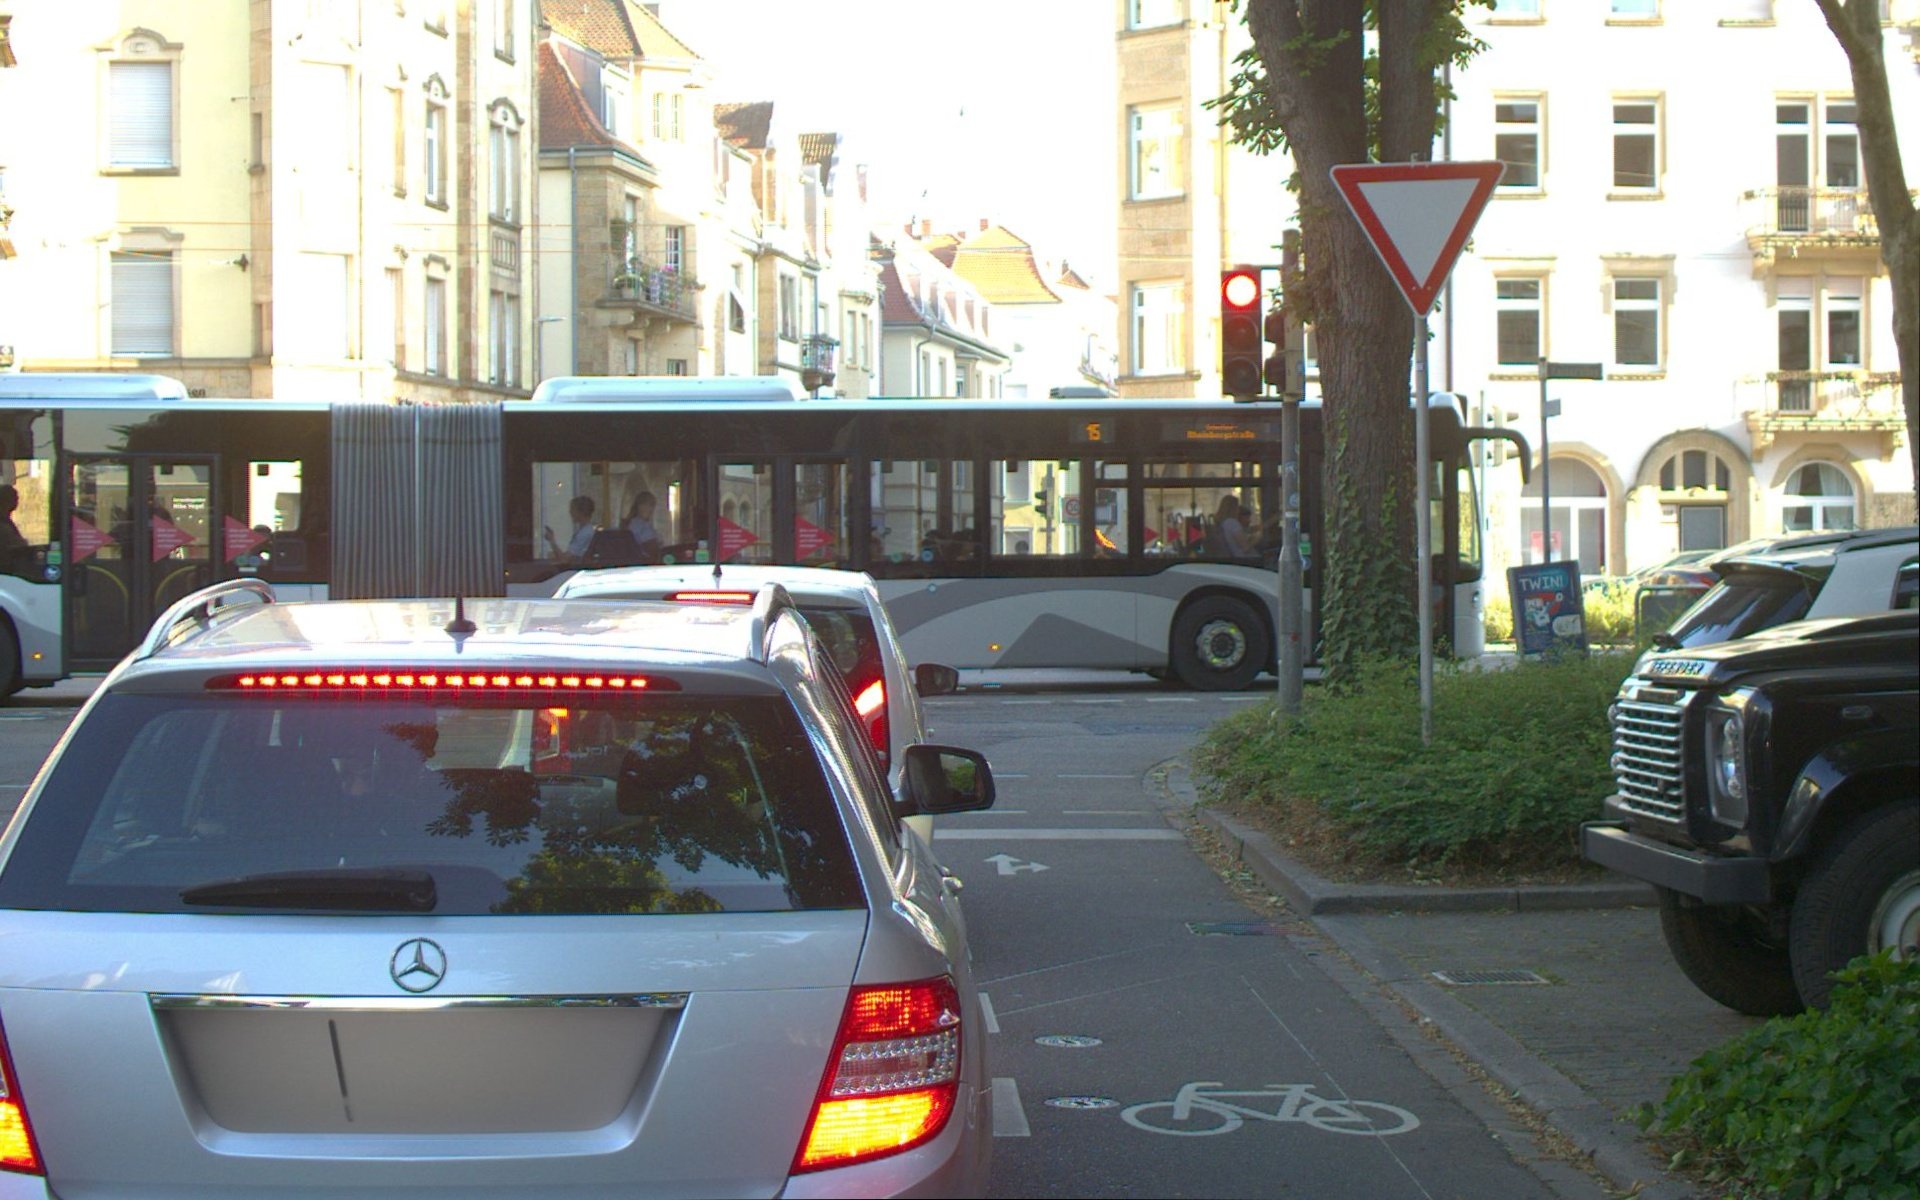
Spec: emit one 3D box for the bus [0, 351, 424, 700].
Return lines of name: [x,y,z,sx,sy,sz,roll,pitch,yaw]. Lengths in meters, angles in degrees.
bus: [-9.305,-0.697,32.914,8.173,3.190,2.912,-1,1,-8]

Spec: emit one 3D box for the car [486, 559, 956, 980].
car: [-0.911,0.563,14.074,1.619,1.442,4.345,0,1,-2]

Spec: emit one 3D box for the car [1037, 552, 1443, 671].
car: [3.067,0.107,38.108,4.195,1.232,1.719,-1,1,-8]

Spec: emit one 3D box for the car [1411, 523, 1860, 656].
car: [7.633,-0.136,39.043,4.688,1.424,1.719,-1,1,-8]

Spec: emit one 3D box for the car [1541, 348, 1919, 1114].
car: [4.139,0.293,10.145,4.465,2.029,1.701,-1,0,-3]

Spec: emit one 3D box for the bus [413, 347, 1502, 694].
bus: [-0.107,-0.818,34.224,10.450,3.190,2.912,-1,1,-8]

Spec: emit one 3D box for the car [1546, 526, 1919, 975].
car: [4.294,0.490,13.115,3.723,1.564,1.709,-1,1,-4]

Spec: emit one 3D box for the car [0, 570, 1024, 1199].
car: [-0.893,0.681,6.979,1.777,1.447,4.548,0,1,-2]
